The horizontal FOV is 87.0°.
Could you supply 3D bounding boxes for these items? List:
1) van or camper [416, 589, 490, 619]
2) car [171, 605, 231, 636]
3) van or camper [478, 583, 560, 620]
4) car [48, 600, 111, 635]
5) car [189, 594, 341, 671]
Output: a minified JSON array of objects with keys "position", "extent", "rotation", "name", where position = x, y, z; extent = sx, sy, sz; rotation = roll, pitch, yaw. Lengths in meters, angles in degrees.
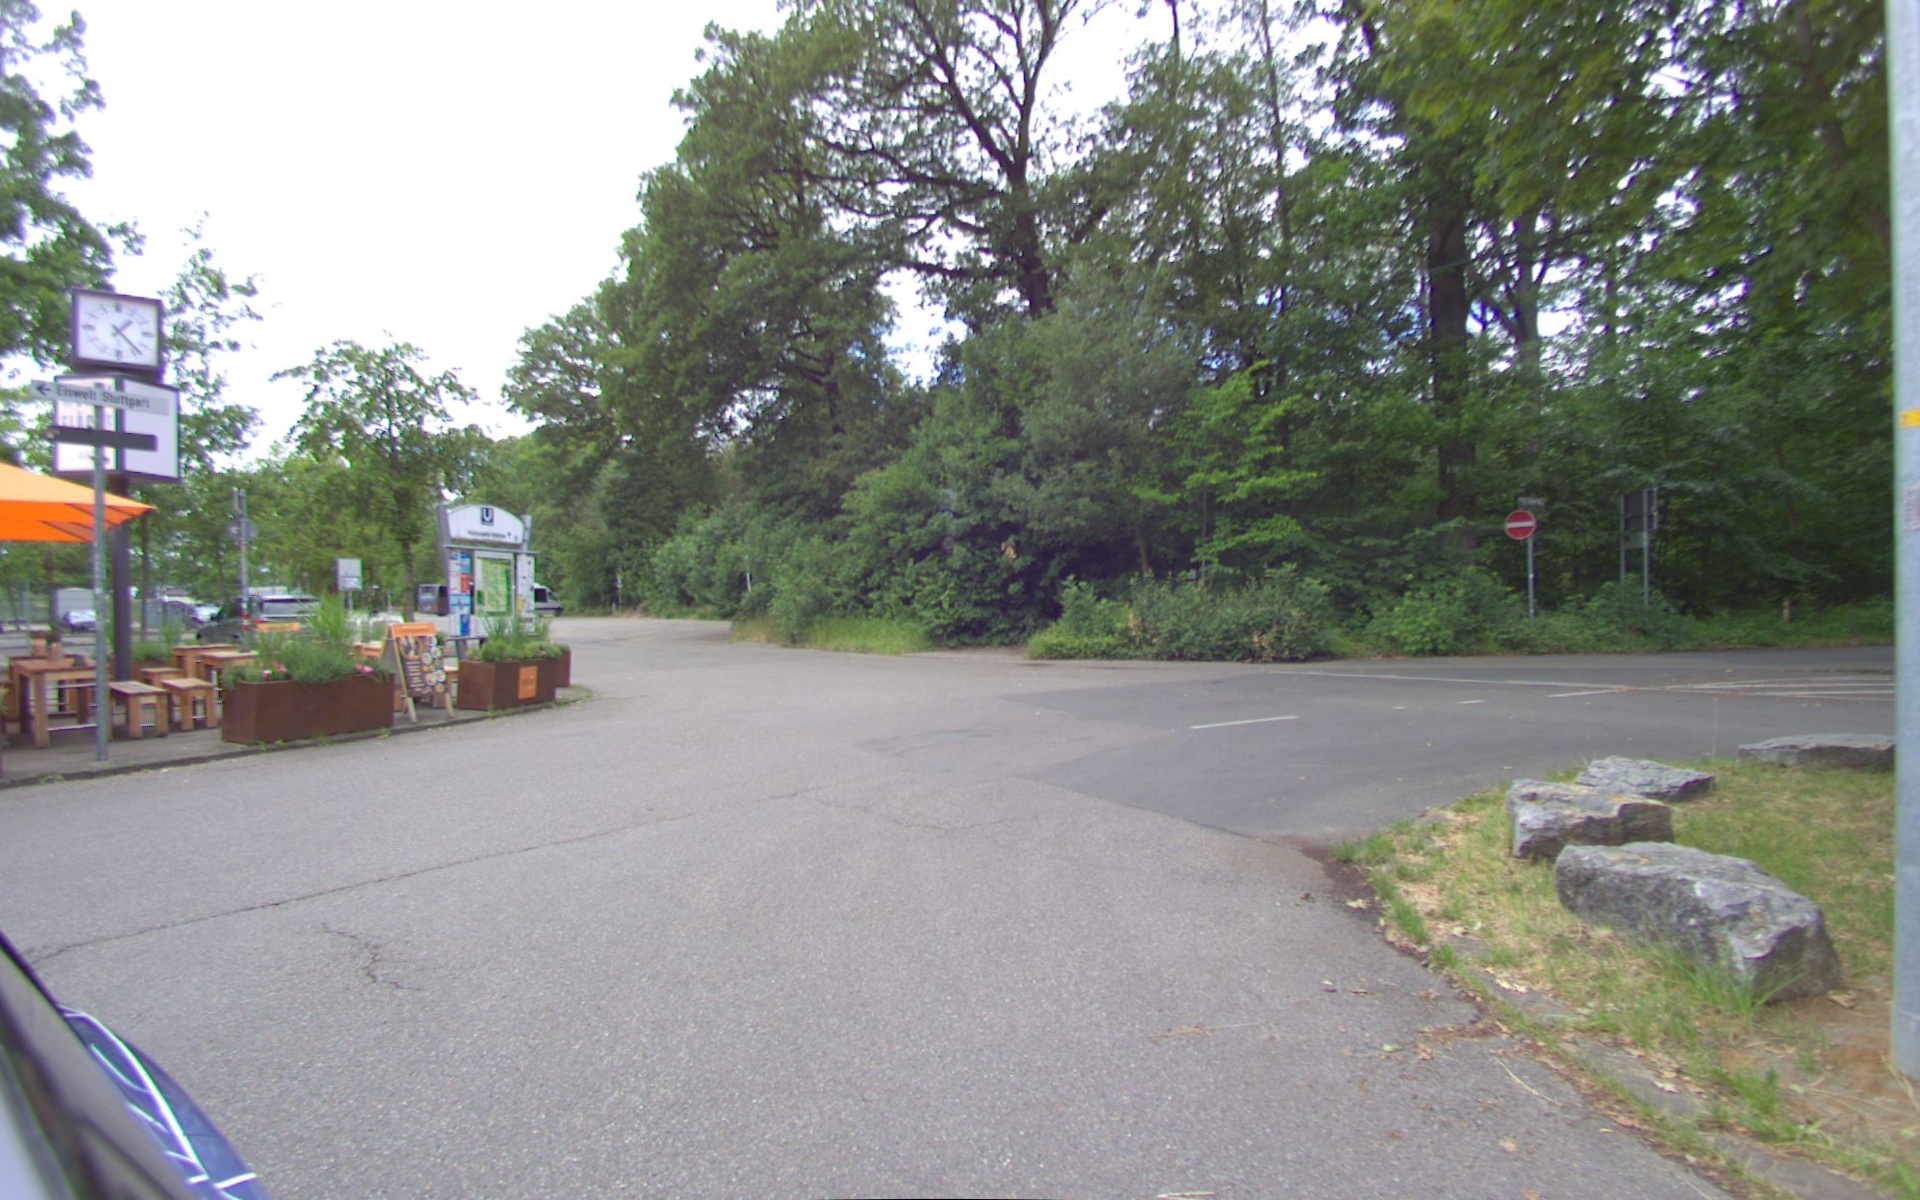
[{"position":[-50.845,0.361,101.648],"extent":[2.185,2.871,7.300],"rotation":[-1,1,17],"name":"van or camper"},{"position":[-45.240,1.213,60.293],"extent":[4.290,1.793,1.854],"rotation":[-1,0,38],"name":"car"},{"position":[-35.999,0.086,82.898],"extent":[2.049,2.871,7.306],"rotation":[-1,1,15],"name":"van or camper"},{"position":[-48.745,0.967,55.991],"extent":[4.290,1.793,1.854],"rotation":[-1,0,38],"name":"car"},{"position":[-16.854,0.739,24.481],"extent":[4.341,1.682,1.910],"rotation":[-1,0,40],"name":"car"}]
